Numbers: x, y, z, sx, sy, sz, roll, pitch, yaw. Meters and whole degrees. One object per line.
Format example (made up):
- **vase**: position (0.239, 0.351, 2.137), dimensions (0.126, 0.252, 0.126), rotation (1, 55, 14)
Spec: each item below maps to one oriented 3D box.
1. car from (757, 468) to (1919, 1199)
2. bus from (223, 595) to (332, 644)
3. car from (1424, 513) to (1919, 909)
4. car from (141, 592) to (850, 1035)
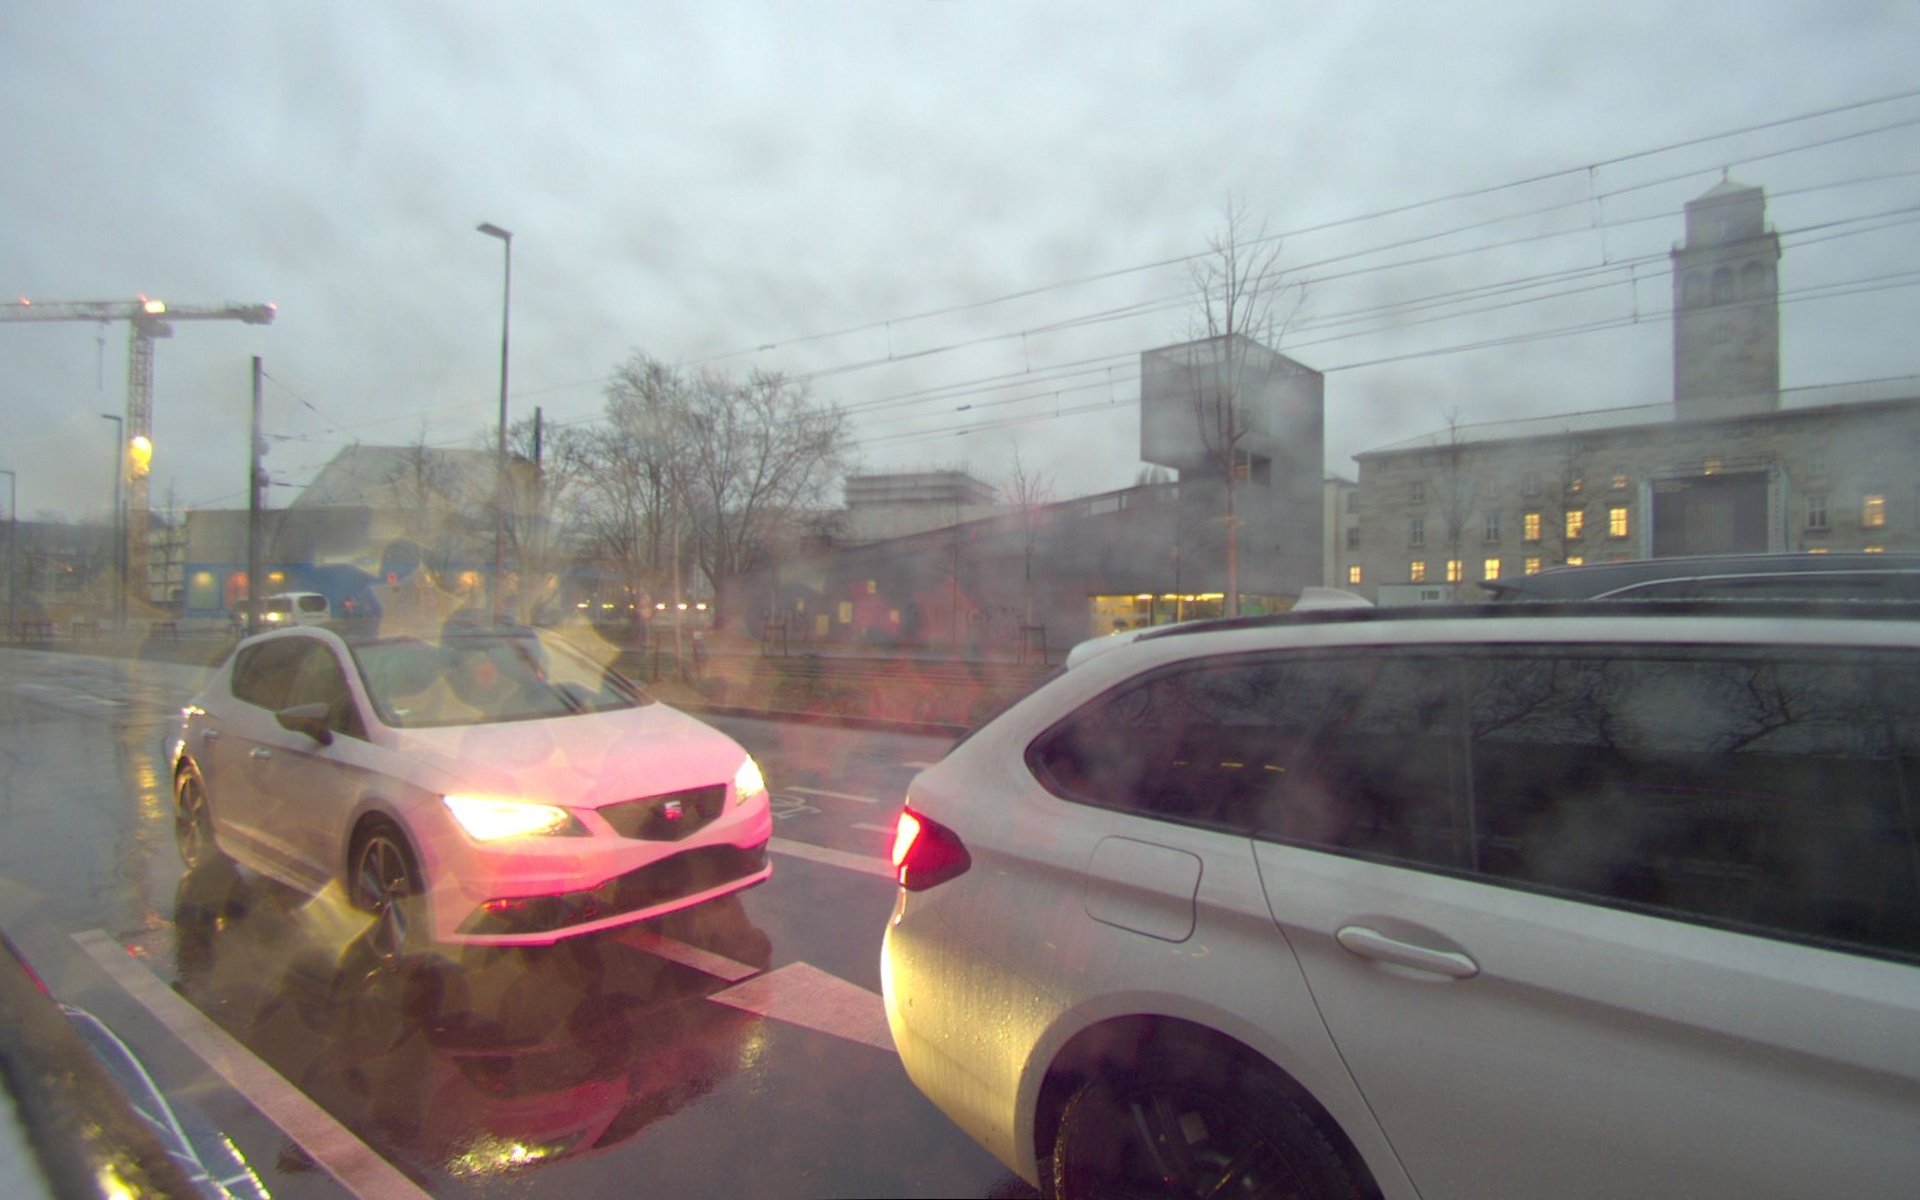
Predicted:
- **car**: position (1.968, 0.625, 1.726), dimensions (4.919, 1.532, 1.890), rotation (-1, -2, 40)
- **bus**: position (-53.348, 1.505, 78.866), dimensions (12.277, 3.605, 2.783), rotation (-1, -2, 35)
- **car**: position (4.971, 0.504, 5.015), dimensions (4.605, 1.756, 1.686), rotation (-1, -2, 38)
- **car**: position (-2.687, 0.745, 5.406), dimensions (4.124, 1.486, 1.757), rotation (-1, 0, 38)
